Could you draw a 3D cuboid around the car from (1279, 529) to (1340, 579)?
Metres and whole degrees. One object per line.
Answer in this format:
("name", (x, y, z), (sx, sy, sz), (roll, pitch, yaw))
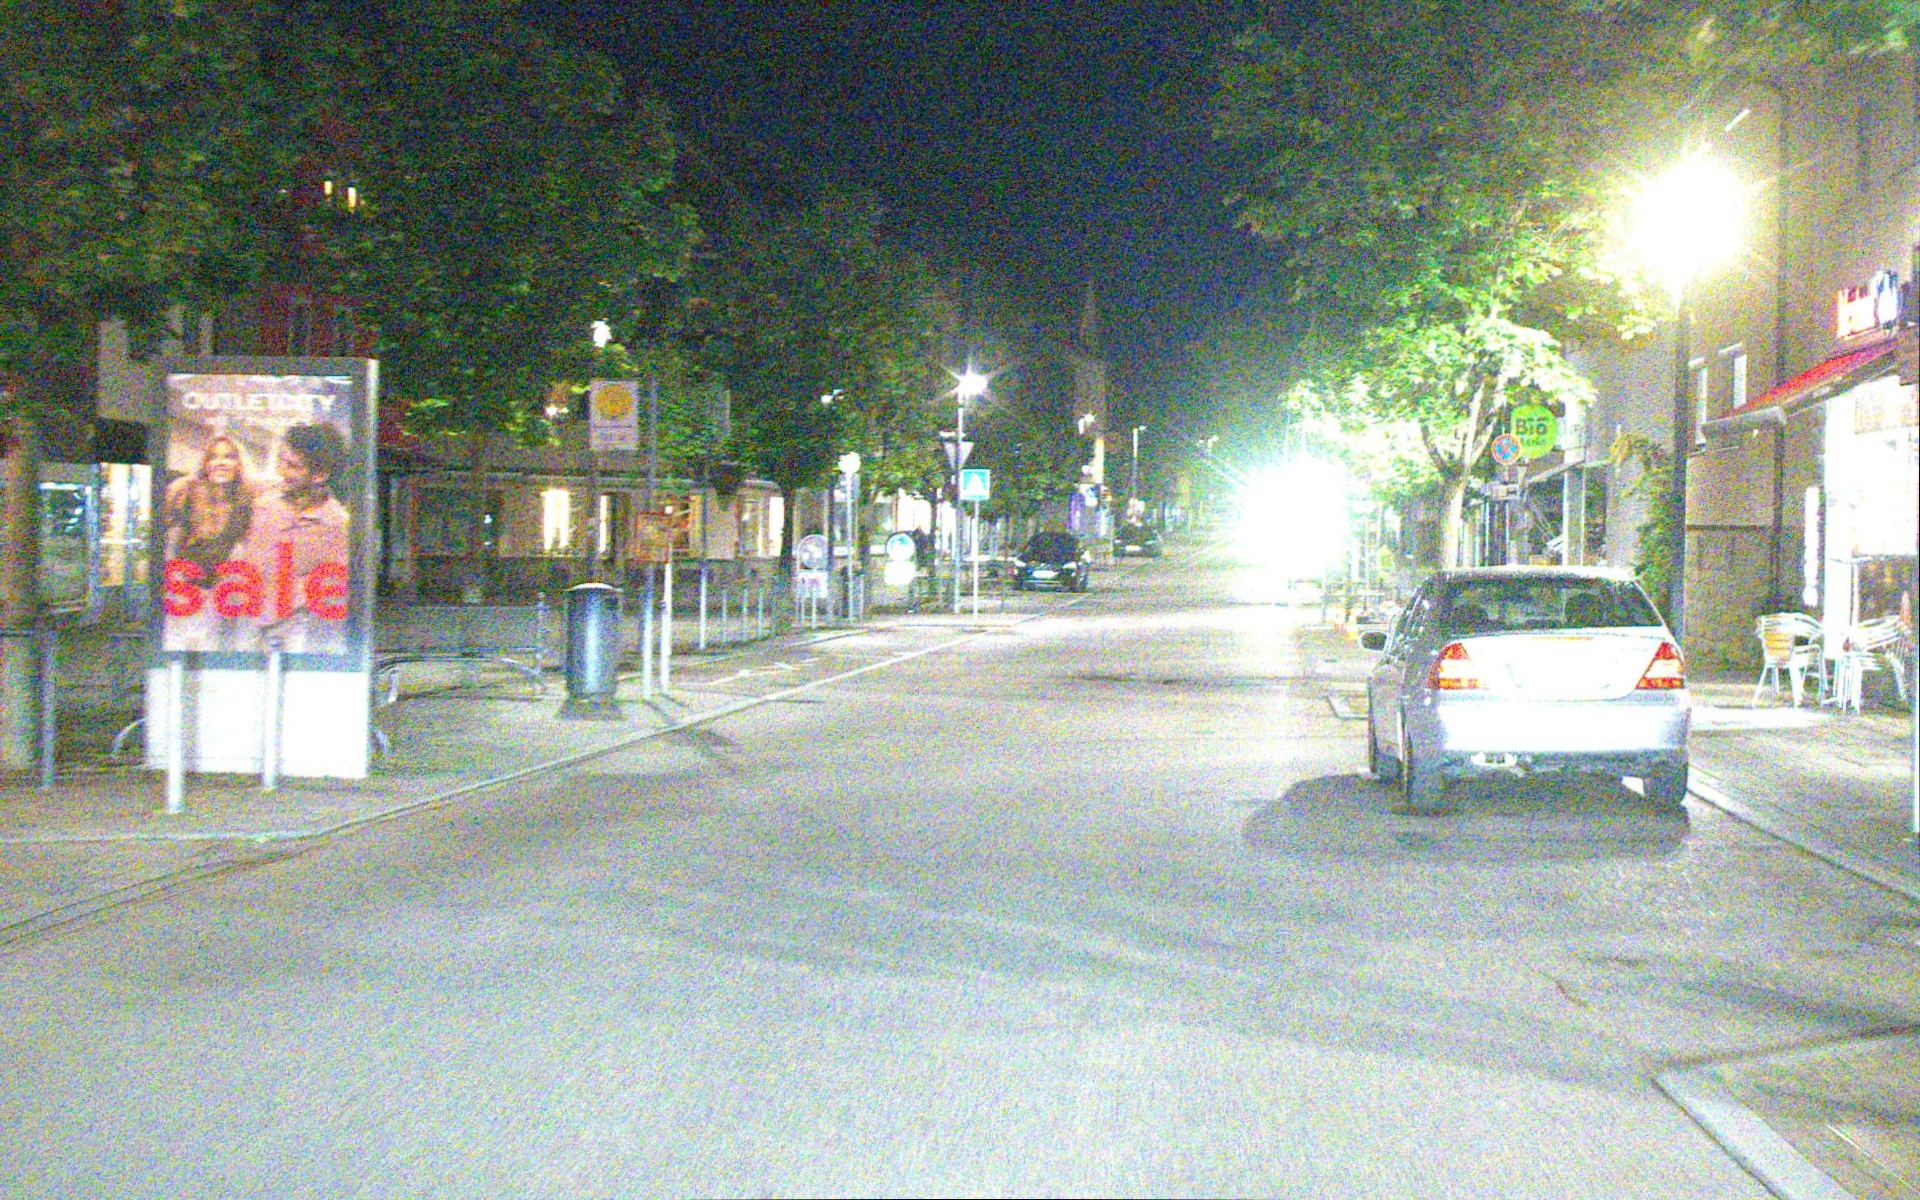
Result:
("car", (10.603, -1.404, 104.473), (1.675, 1.454, 3.675), (0, 1, 4))

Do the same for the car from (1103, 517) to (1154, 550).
("car", (7.535, -2.981, 153.374), (1.915, 1.366, 4.456), (0, 2, 7))

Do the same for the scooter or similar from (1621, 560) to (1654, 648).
("scooter or similar", (9.921, 0.052, 50.357), (0.373, 1.272, 1.305), (0, 0, 6))

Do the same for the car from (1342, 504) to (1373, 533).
("car", (23.751, -4.866, 205.371), (1.776, 1.646, 4.363), (0, 2, 7))

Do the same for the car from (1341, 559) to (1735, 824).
("car", (3.521, 0.489, 21.717), (1.734, 1.436, 4.497), (0, 1, 0))

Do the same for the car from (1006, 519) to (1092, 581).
("car", (2.610, -1.472, 99.575), (2.018, 1.685, 5.002), (2, 2, 6))

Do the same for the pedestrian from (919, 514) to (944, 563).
("pedestrian", (-0.982, -2.107, 117.751), (0.769, 1.650, 0.817), (0, 3, 7))
